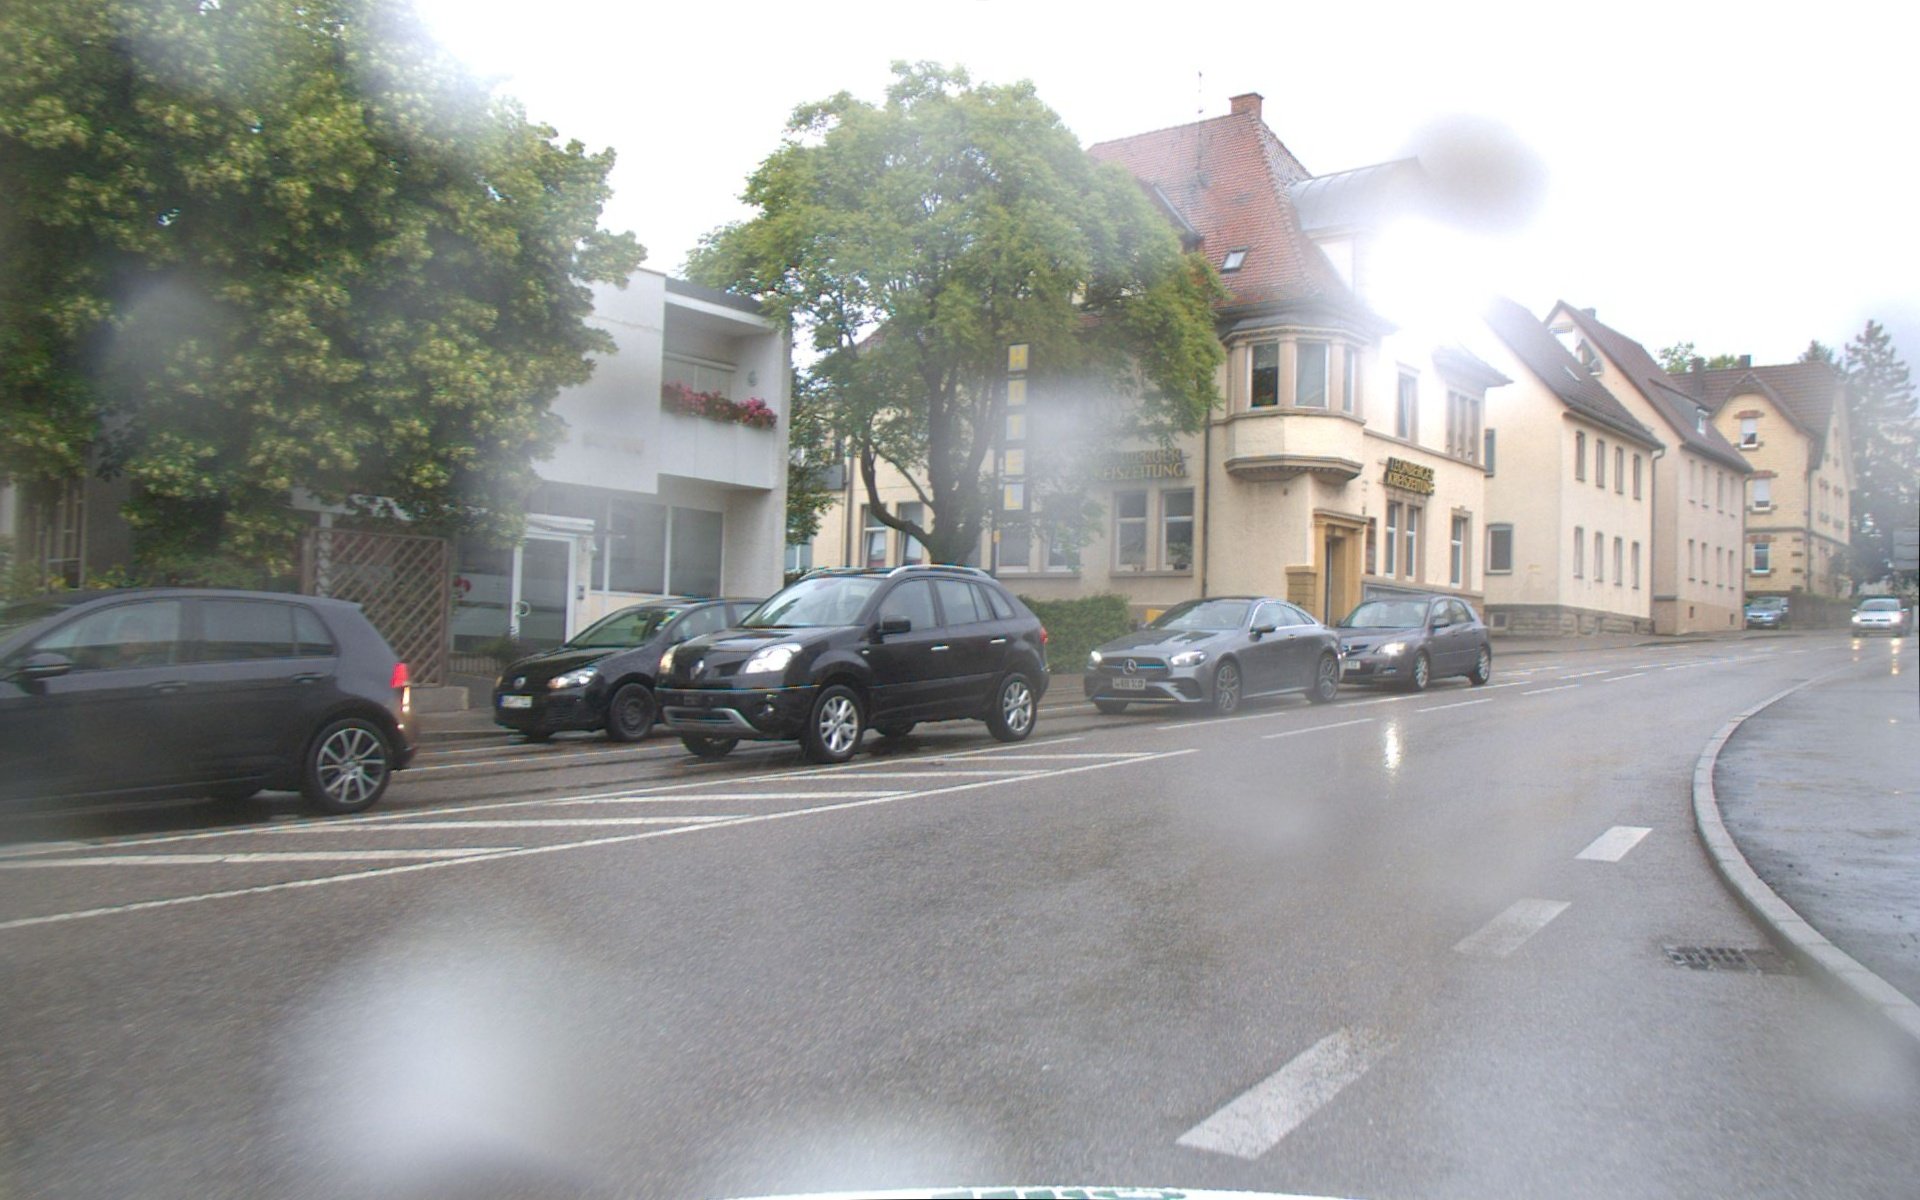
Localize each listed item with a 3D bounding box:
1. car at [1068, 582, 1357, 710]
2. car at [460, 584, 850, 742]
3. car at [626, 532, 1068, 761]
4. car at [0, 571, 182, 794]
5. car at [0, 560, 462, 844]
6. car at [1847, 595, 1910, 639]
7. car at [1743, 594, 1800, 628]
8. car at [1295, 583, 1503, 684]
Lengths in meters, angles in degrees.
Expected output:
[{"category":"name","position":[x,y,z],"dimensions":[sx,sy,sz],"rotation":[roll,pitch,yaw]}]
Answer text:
[{"category":"car","position":[3.381,0.543,21.439],"dimensions":[1.744,1.477,4.520],"rotation":[-2,-1,37]},{"category":"car","position":[-3.247,0.626,18.314],"dimensions":[1.744,1.545,4.168],"rotation":[-2,-1,37]},{"category":"car","position":[-0.913,0.383,15.582],"dimensions":[1.744,1.847,4.297],"rotation":[-2,-1,37]},{"category":"car","position":[-7.821,0.593,11.363],"dimensions":[1.744,1.545,4.168],"rotation":[-2,-1,37]},{"category":"car","position":[-5.376,0.565,10.116],"dimensions":[1.743,1.531,4.299],"rotation":[-2,-1,36]},{"category":"car","position":[35.913,0.628,64.652],"dimensions":[1.603,1.626,3.216],"rotation":[2,1,39]},{"category":"car","position":[37.412,0.492,76.233],"dimensions":[1.664,1.479,3.216],"rotation":[2,2,39]},{"category":"car","position":[7.077,0.502,26.401],"dimensions":[1.744,1.477,4.168],"rotation":[-2,-1,37]}]
